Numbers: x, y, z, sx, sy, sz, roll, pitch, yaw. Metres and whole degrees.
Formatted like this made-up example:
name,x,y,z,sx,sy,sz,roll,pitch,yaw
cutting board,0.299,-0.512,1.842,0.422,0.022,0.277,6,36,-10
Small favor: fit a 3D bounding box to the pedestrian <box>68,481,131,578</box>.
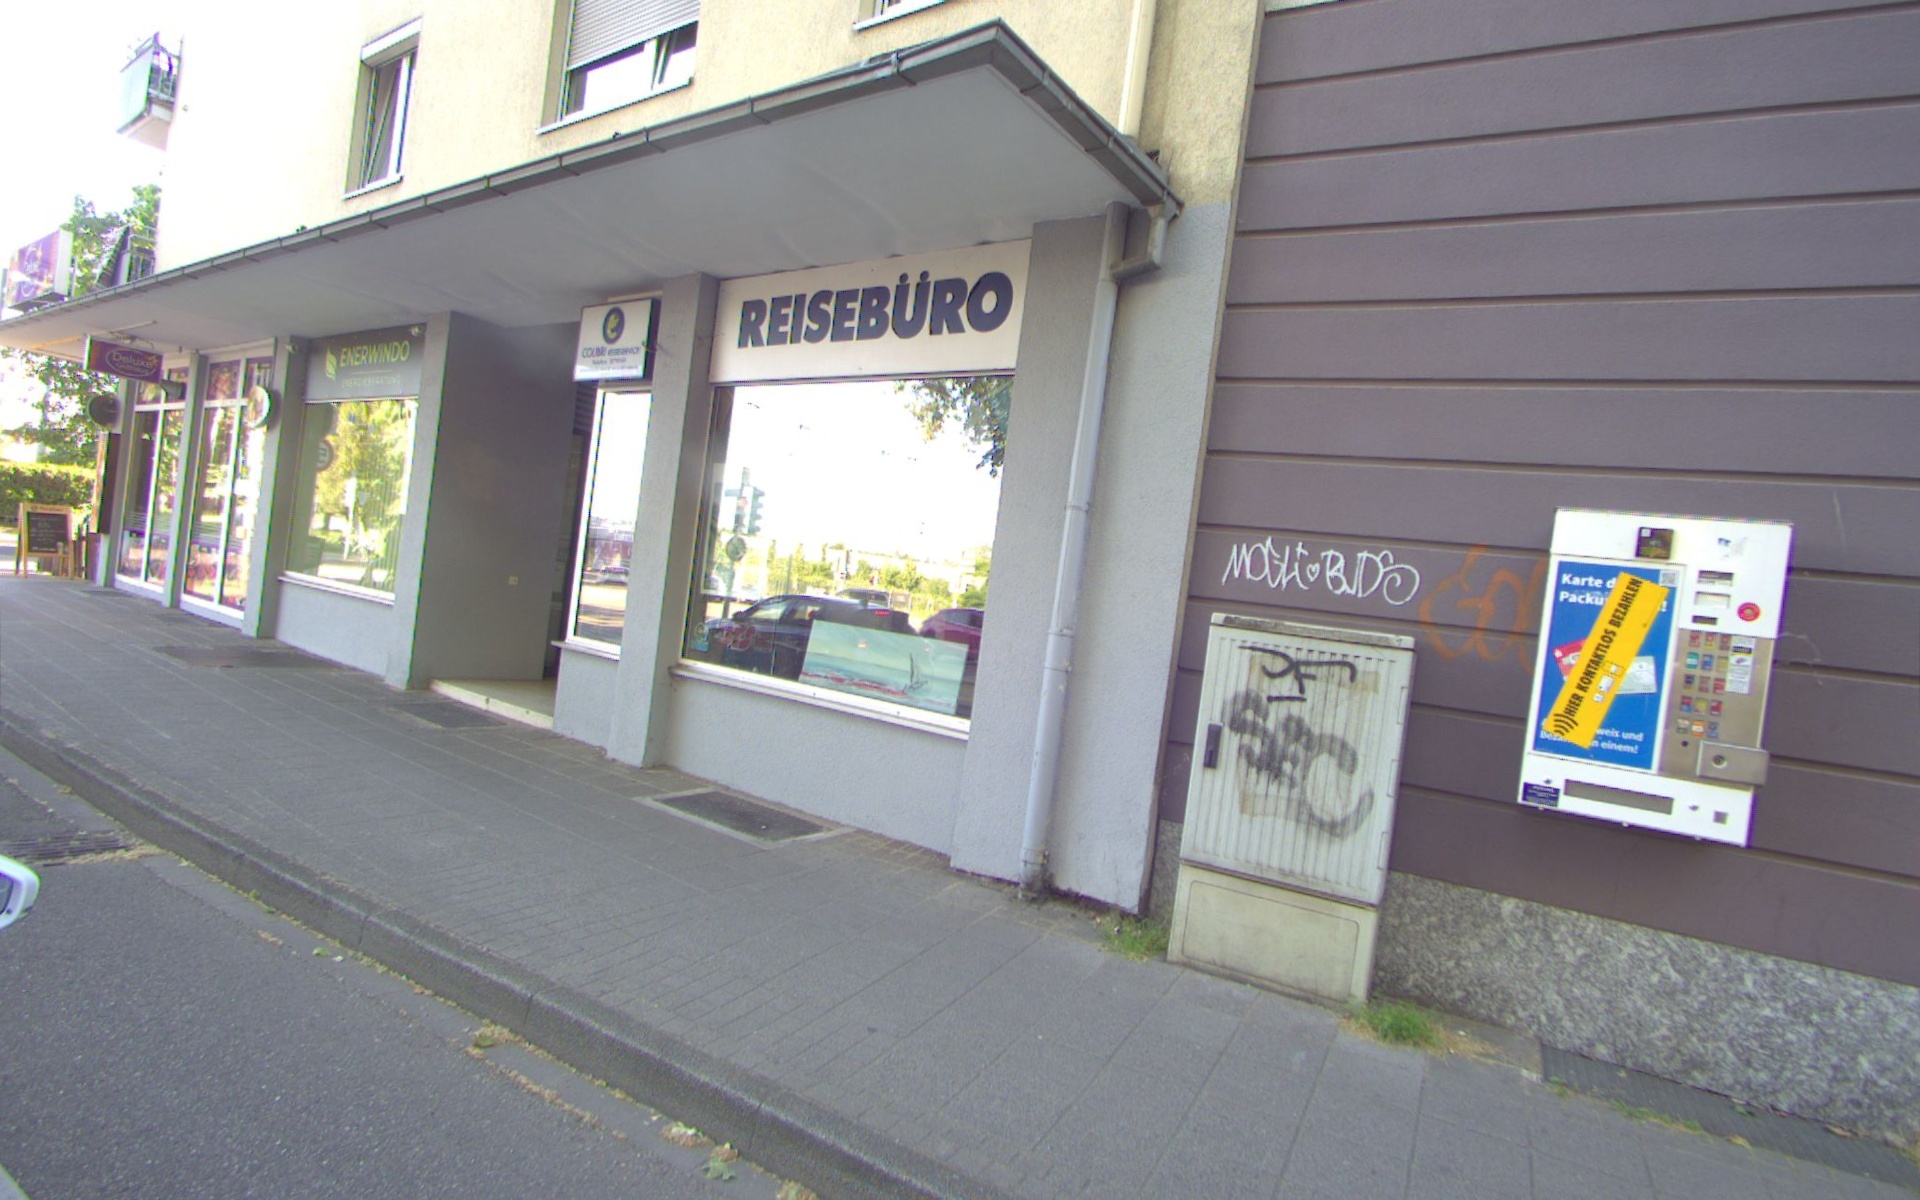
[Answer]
name,x,y,z,sx,sy,sz,roll,pitch,yaw
pedestrian,-16.744,-1.369,19.583,0.573,1.783,0.633,6,-1,34
